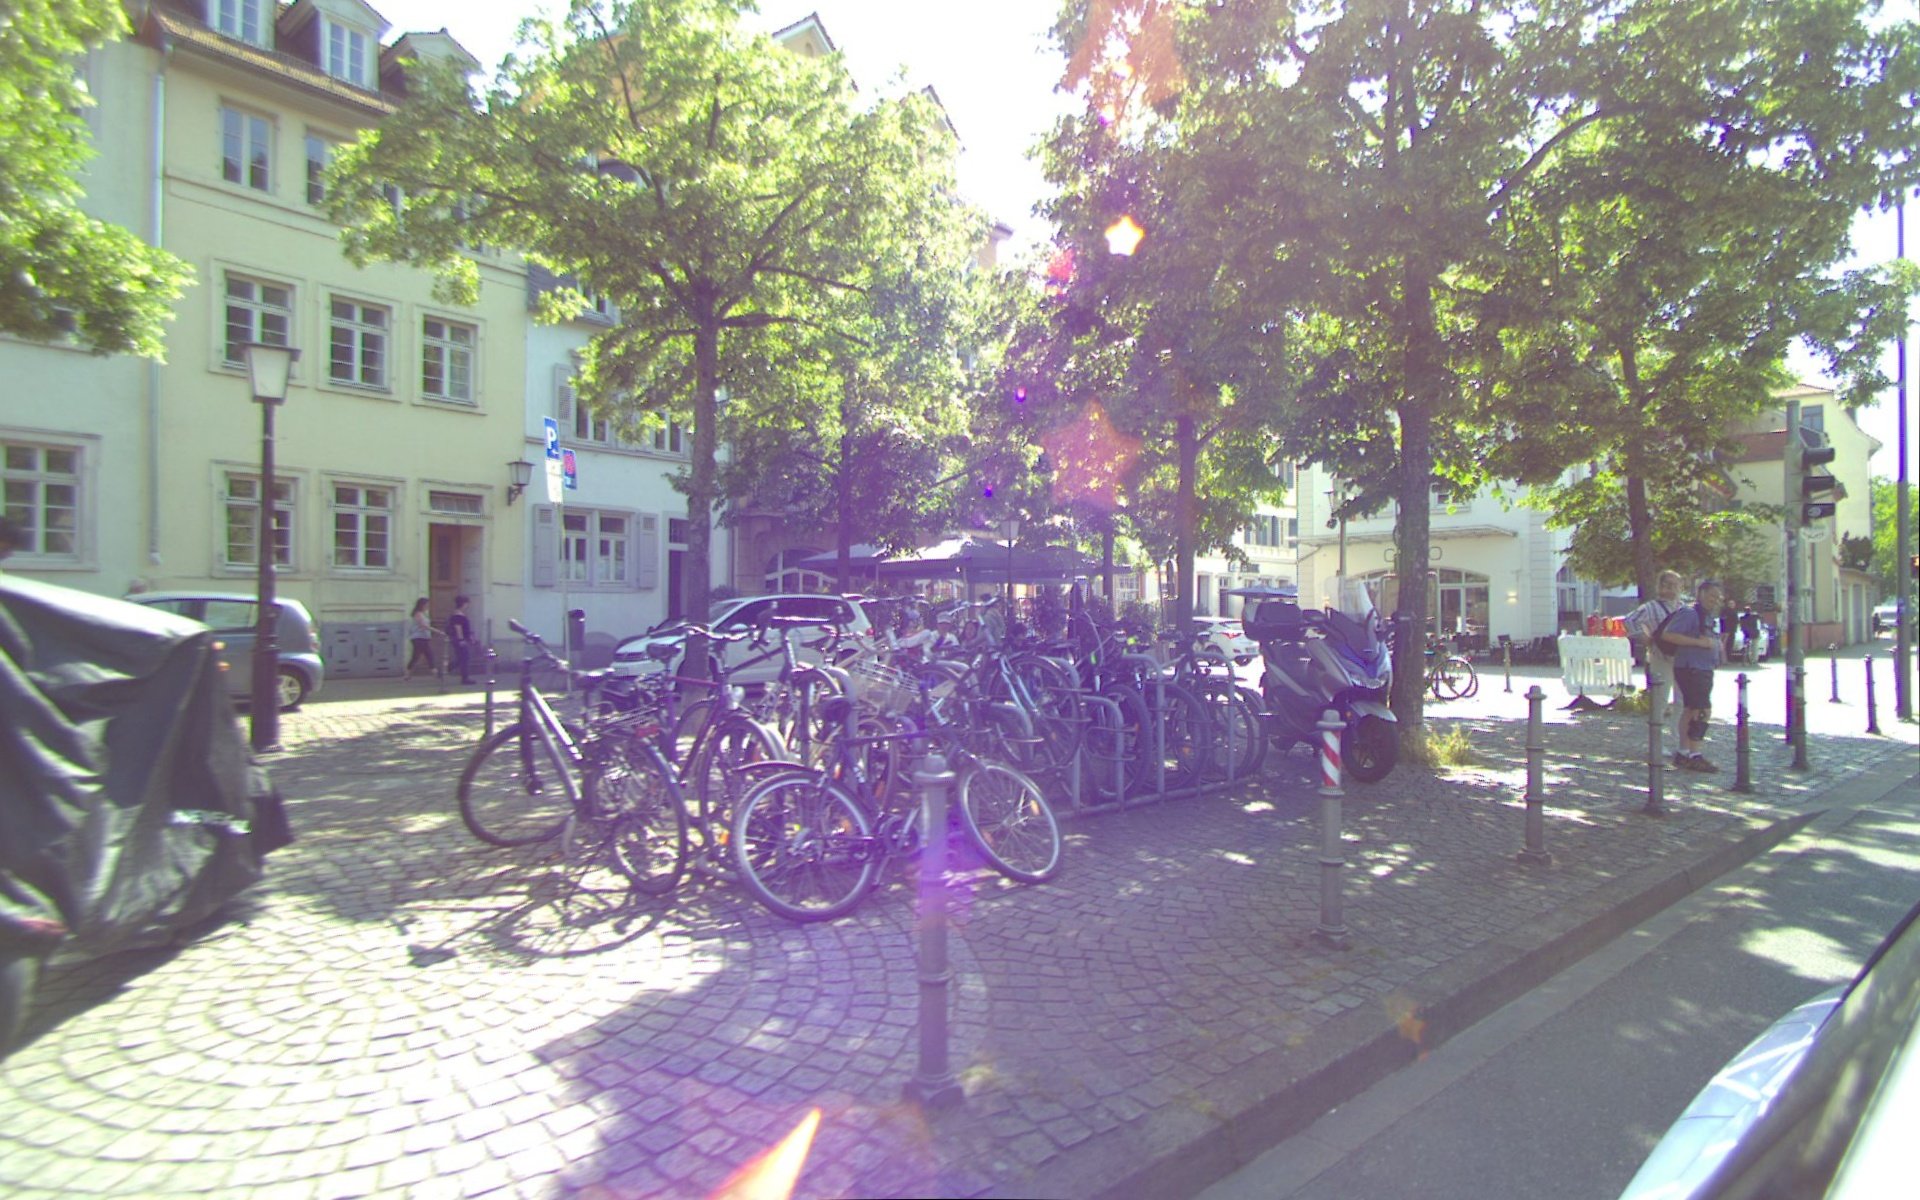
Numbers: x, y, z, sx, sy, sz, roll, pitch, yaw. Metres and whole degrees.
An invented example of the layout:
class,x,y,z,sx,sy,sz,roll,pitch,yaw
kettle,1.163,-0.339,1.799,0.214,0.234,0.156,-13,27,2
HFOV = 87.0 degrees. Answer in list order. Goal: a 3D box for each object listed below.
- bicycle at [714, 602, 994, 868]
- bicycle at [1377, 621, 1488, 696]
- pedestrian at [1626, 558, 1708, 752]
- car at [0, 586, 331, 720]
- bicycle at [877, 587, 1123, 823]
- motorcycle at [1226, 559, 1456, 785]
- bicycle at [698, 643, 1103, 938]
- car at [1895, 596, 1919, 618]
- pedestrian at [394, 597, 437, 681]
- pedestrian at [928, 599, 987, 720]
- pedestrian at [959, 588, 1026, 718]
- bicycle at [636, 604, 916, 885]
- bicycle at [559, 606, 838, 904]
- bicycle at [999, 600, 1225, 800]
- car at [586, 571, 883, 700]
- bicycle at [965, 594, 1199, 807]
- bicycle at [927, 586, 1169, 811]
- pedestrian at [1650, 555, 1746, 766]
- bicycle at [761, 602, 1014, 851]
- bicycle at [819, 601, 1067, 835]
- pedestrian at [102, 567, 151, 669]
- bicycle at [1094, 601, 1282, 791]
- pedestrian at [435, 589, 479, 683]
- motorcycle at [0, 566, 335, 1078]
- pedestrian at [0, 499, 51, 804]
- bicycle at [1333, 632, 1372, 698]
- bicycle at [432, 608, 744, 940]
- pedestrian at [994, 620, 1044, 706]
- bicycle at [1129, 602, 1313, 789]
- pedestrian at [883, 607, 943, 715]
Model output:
class,x,y,z,sx,sy,sz,roll,pitch,yaw
bicycle,-0.629,0.622,5.408,1.749,1.147,0.456,3,2,44
bicycle,7.902,0.950,17.005,0.322,1.145,1.887,1,0,-27
pedestrian,6.841,0.507,9.790,0.573,1.800,0.540,1,0,-44
car,-10.216,0.622,12.883,3.499,1.497,1.586,2,-1,-42
bicycle,0.194,0.566,6.209,1.627,1.232,0.407,3,2,44
motorcycle,2.922,0.480,8.081,0.782,1.547,2.204,0,0,-7
bicycle,-0.215,0.732,4.419,1.719,1.021,0.540,0,0,-32
car,86.746,0.635,91.963,1.986,1.781,4.536,-1,2,34
pedestrian,-9.929,0.695,18.458,0.605,1.495,0.425,0,0,-42
pedestrian,-0.031,0.730,12.733,0.569,1.478,0.493,0,0,-38
pedestrian,0.397,0.622,12.331,0.656,1.527,0.492,0,0,-43
bicycle,-1.003,0.632,5.171,1.749,1.147,0.456,3,2,44
bicycle,-1.341,0.643,4.939,1.749,1.147,0.456,3,2,44
bicycle,1.001,0.625,7.015,1.627,1.184,0.345,3,2,44
car,-3.542,0.598,16.410,4.384,1.815,1.836,2,-4,-42
bicycle,0.774,0.604,6.820,1.627,1.232,0.407,3,2,44
bicycle,0.512,0.555,6.474,1.627,1.232,0.407,3,2,44
pedestrian,6.570,0.515,9.012,0.572,1.800,0.541,1,0,-38
bicycle,-0.458,0.621,5.662,1.627,1.147,0.407,3,2,44
bicycle,-0.152,0.613,5.957,1.627,1.147,0.407,3,2,44
pedestrian,-12.587,0.262,15.288,0.558,1.495,0.508,0,0,-42
bicycle,1.591,0.619,7.346,0.416,1.184,1.636,1,1,-24
pedestrian,-8.976,0.625,18.059,0.617,1.633,0.425,0,0,-42
motorcycle,-3.004,0.552,3.694,0.709,1.291,2.543,0,0,-20
pedestrian,-5.780,0.304,6.049,0.493,1.767,0.541,0,-2,-40
bicycle,6.483,1.040,16.741,0.324,0.991,1.621,1,0,12
bicycle,-1.722,0.651,4.524,1.747,1.147,0.532,3,2,42
pedestrian,0.774,0.818,13.367,0.519,1.088,0.424,0,0,-43
bicycle,1.864,0.632,7.473,0.359,1.184,1.636,1,1,-24
pedestrian,-0.580,0.729,12.436,0.569,1.279,0.493,0,0,-38
